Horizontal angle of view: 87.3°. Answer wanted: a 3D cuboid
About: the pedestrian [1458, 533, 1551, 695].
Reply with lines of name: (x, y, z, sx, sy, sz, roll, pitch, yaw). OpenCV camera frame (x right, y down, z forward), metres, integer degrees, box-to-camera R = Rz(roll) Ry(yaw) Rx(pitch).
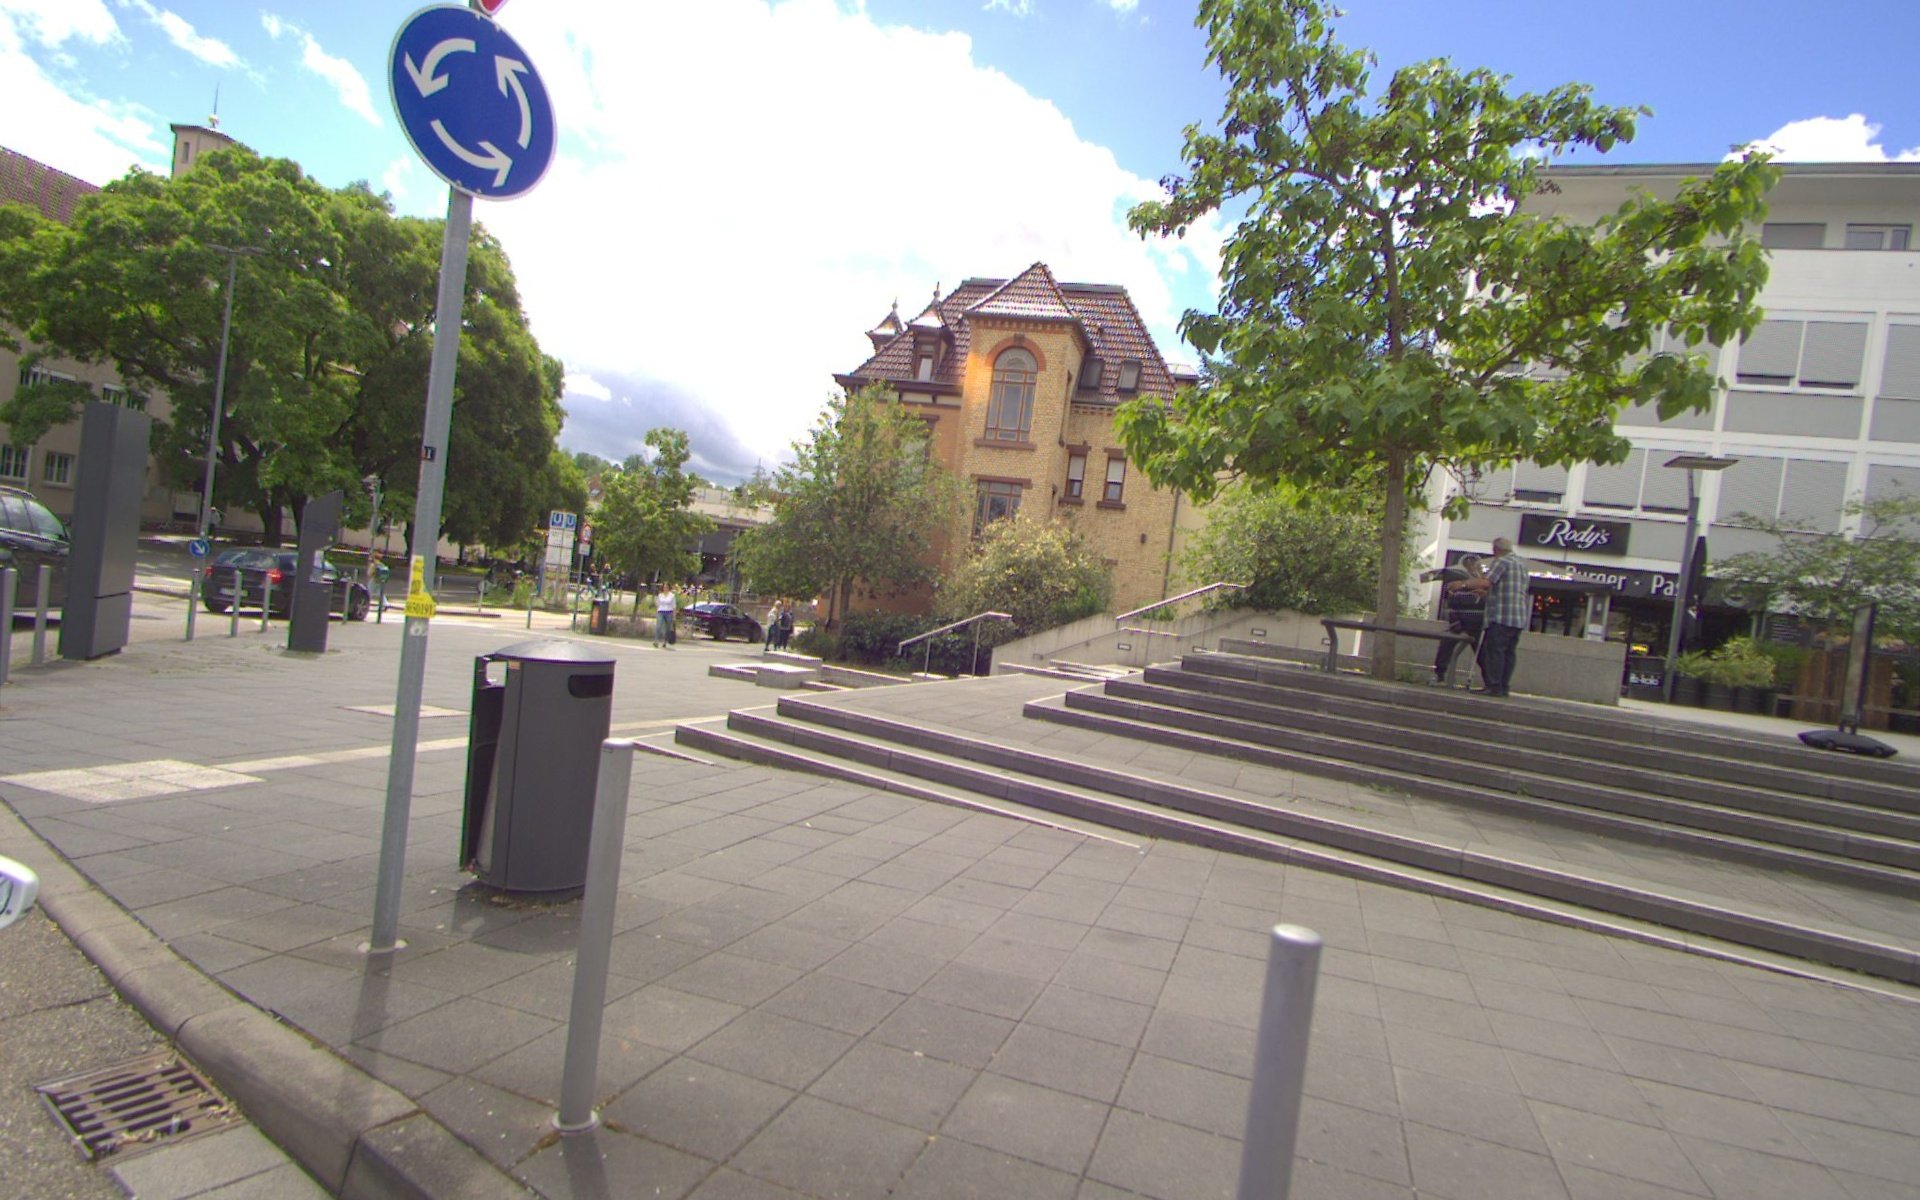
pedestrian: (5.350, 0.135, 9.897, 0.498, 1.527, 0.450, 6, 2, -30)

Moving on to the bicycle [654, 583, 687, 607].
bicycle: (-15.945, -0.257, 55.395, 1.543, 1.104, 0.578, 7, 0, 13)

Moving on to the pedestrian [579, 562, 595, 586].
pedestrian: (-22.929, -1.575, 61.855, 0.572, 1.396, 0.616, 7, 0, 1)

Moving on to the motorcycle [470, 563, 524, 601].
motorcycle: (-19.732, -0.753, 42.910, 2.099, 1.306, 0.583, 9, 3, 15)

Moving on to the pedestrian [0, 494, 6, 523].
pedestrian: (-40.078, -3.819, 41.744, 0.483, 1.196, 0.576, 8, -1, -30)

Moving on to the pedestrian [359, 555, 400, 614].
pedestrian: (-16.536, -0.440, 28.658, 0.774, 1.534, 0.551, 9, 2, 26)

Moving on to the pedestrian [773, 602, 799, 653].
pedestrian: (-5.859, 0.927, 33.935, 0.497, 1.649, 0.509, 6, -1, 29)

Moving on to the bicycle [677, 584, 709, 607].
bicycle: (-15.342, -0.239, 57.829, 1.543, 1.104, 0.578, 7, 0, 13)

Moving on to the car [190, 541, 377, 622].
car: (-14.423, -0.339, 21.720, 1.585, 1.399, 3.834, 7, -1, -6)

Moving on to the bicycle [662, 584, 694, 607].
bicycle: (-15.713, -0.270, 56.133, 1.543, 1.082, 0.539, 7, 0, 13)

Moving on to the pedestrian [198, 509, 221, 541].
pedestrian: (-37.991, -3.791, 50.922, 0.696, 1.510, 0.806, 8, -1, -41)

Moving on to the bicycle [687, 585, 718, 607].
bicycle: (-15.024, -0.226, 58.712, 1.543, 1.104, 0.578, 7, 0, 13)

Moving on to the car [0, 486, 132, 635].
car: (-12.682, -0.601, 12.723, 2.008, 1.746, 4.413, 9, -3, -22)

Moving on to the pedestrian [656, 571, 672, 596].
pedestrian: (-18.908, -1.034, 64.330, 0.572, 1.481, 0.616, 7, 0, 21)

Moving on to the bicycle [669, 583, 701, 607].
bicycle: (-15.552, -0.279, 56.904, 1.543, 1.104, 0.578, 7, 0, 13)

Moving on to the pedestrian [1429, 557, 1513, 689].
pedestrian: (5.379, 0.236, 10.586, 0.630, 1.302, 0.363, 7, 2, 29)

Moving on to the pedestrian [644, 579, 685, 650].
pedestrian: (-7.688, 0.371, 26.224, 0.694, 1.767, 0.776, 6, 0, -4)

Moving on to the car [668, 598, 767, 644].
car: (-9.342, 0.868, 39.207, 1.827, 1.422, 4.379, 6, -2, 14)

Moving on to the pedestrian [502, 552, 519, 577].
pedestrian: (-32.708, -2.570, 73.195, 0.773, 1.647, 0.637, 7, 0, 12)

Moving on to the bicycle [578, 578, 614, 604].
bicycle: (-17.633, -0.440, 48.698, 1.586, 1.009, 0.500, 7, 0, 19)

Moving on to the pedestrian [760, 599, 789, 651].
pedestrian: (-6.138, 0.831, 33.273, 0.548, 1.649, 0.672, 7, -1, -31)

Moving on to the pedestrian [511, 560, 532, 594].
pedestrian: (-21.901, -1.151, 50.241, 0.572, 1.596, 0.616, 7, 0, -1)
